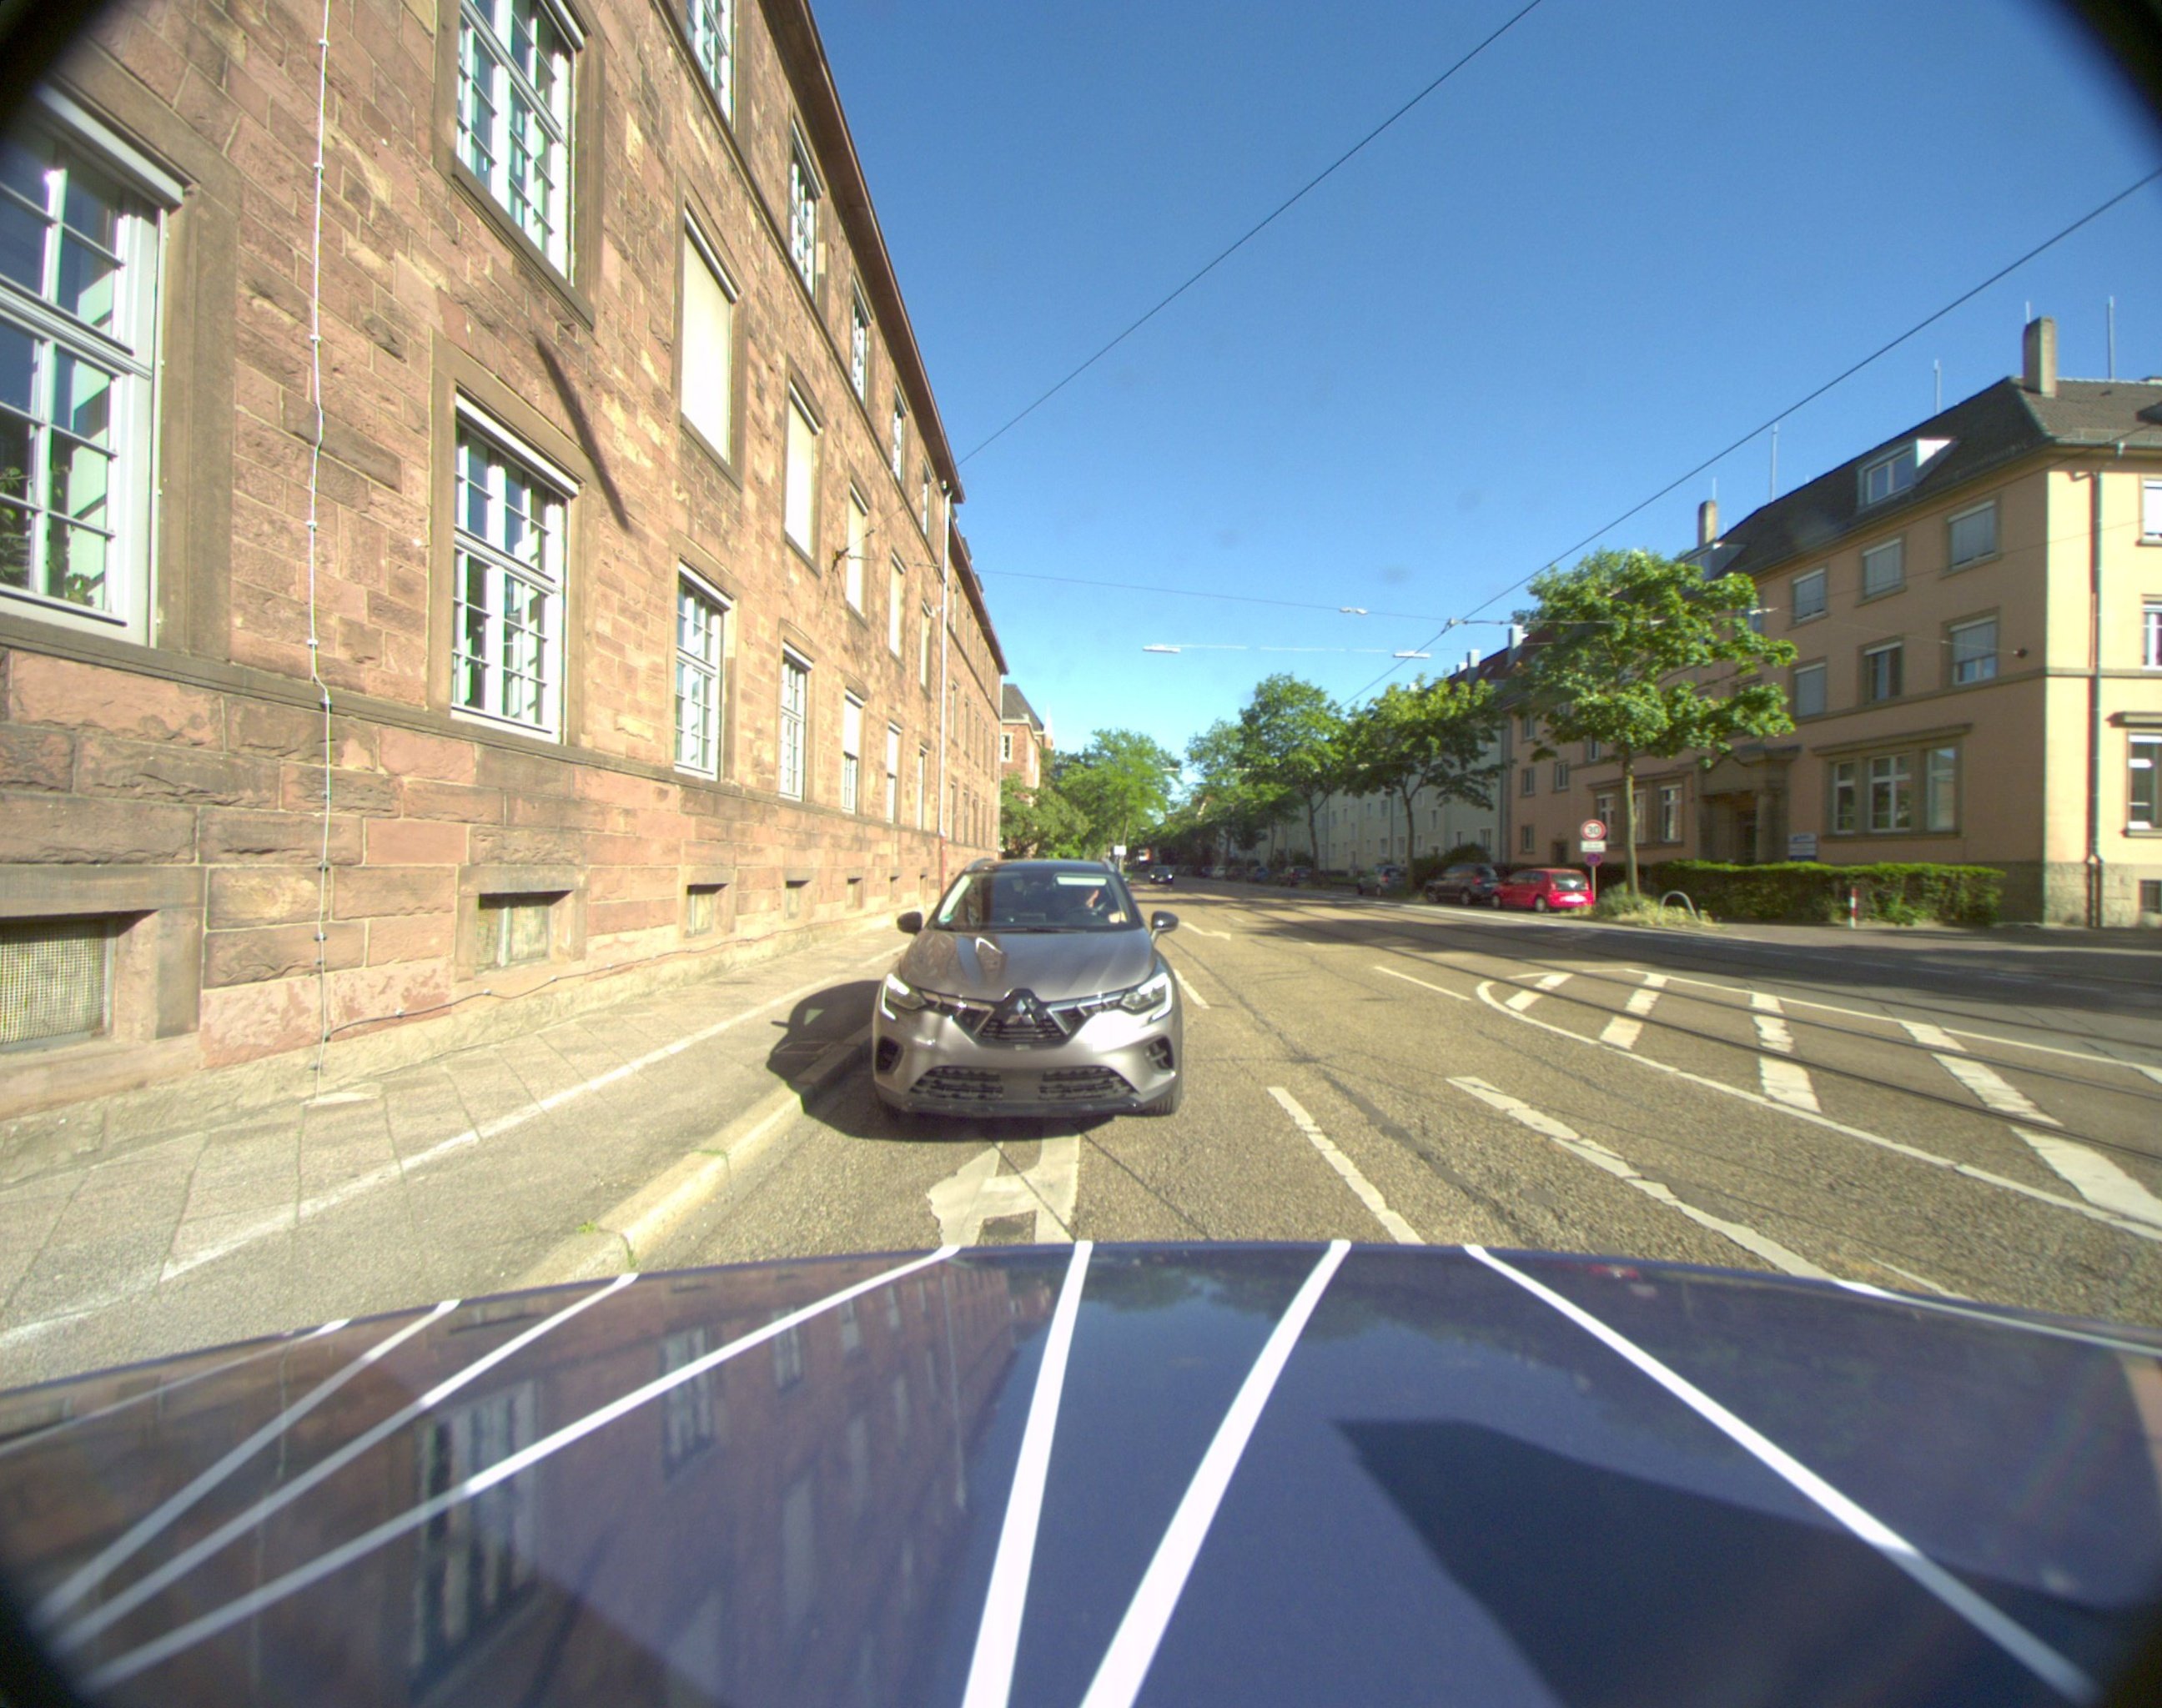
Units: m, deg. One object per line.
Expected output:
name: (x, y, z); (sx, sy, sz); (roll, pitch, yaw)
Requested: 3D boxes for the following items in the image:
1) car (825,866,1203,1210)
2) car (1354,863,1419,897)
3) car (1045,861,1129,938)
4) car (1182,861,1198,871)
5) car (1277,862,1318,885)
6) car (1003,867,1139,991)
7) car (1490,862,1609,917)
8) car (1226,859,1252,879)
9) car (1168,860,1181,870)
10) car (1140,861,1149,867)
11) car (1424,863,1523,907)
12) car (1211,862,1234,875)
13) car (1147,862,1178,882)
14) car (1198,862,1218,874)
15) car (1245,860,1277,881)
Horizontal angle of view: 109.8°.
car: (-0.366, 0.911, 5.552); (1.796, 1.595, 3.799); (-1, 0, -2)
car: (15.728, 1.291, 39.340); (1.816, 1.648, 3.877); (1, 0, 1)
car: (0.070, 1.010, 18.473); (1.796, 1.638, 4.083); (-1, 0, -2)
car: (16.030, 1.730, 111.793); (1.816, 1.411, 3.630); (1, 0, -2)
car: (15.786, 1.418, 55.584); (1.816, 1.589, 3.630); (1, 0, -2)
car: (-0.183, 1.027, 12.026); (1.796, 1.595, 3.799); (-1, 0, -2)
car: (15.851, 1.157, 25.922); (1.816, 1.696, 3.374); (1, 0, -3)
car: (15.895, 1.518, 76.555); (1.816, 1.929, 3.630); (1, 0, -2)
car: (16.579, 1.927, 135.222); (1.816, 1.768, 3.630); (1, 0, -2)
car: (16.054, 2.465, 191.334); (1.816, 1.411, 3.630); (1, 0, -2)
car: (15.640, 1.191, 30.530); (1.816, 1.648, 3.819); (1, 0, -3)
car: (16.023, 1.656, 85.913); (1.816, 1.411, 3.630); (1, 0, -2)
car: (6.262, 1.371, 58.818); (1.912, 1.510, 4.000); (1, 0, -1)
car: (15.838, 1.744, 94.840); (1.816, 1.411, 3.630); (1, 0, -2)
car: (15.966, 1.461, 67.477); (1.816, 1.814, 3.795); (1, 0, -2)
